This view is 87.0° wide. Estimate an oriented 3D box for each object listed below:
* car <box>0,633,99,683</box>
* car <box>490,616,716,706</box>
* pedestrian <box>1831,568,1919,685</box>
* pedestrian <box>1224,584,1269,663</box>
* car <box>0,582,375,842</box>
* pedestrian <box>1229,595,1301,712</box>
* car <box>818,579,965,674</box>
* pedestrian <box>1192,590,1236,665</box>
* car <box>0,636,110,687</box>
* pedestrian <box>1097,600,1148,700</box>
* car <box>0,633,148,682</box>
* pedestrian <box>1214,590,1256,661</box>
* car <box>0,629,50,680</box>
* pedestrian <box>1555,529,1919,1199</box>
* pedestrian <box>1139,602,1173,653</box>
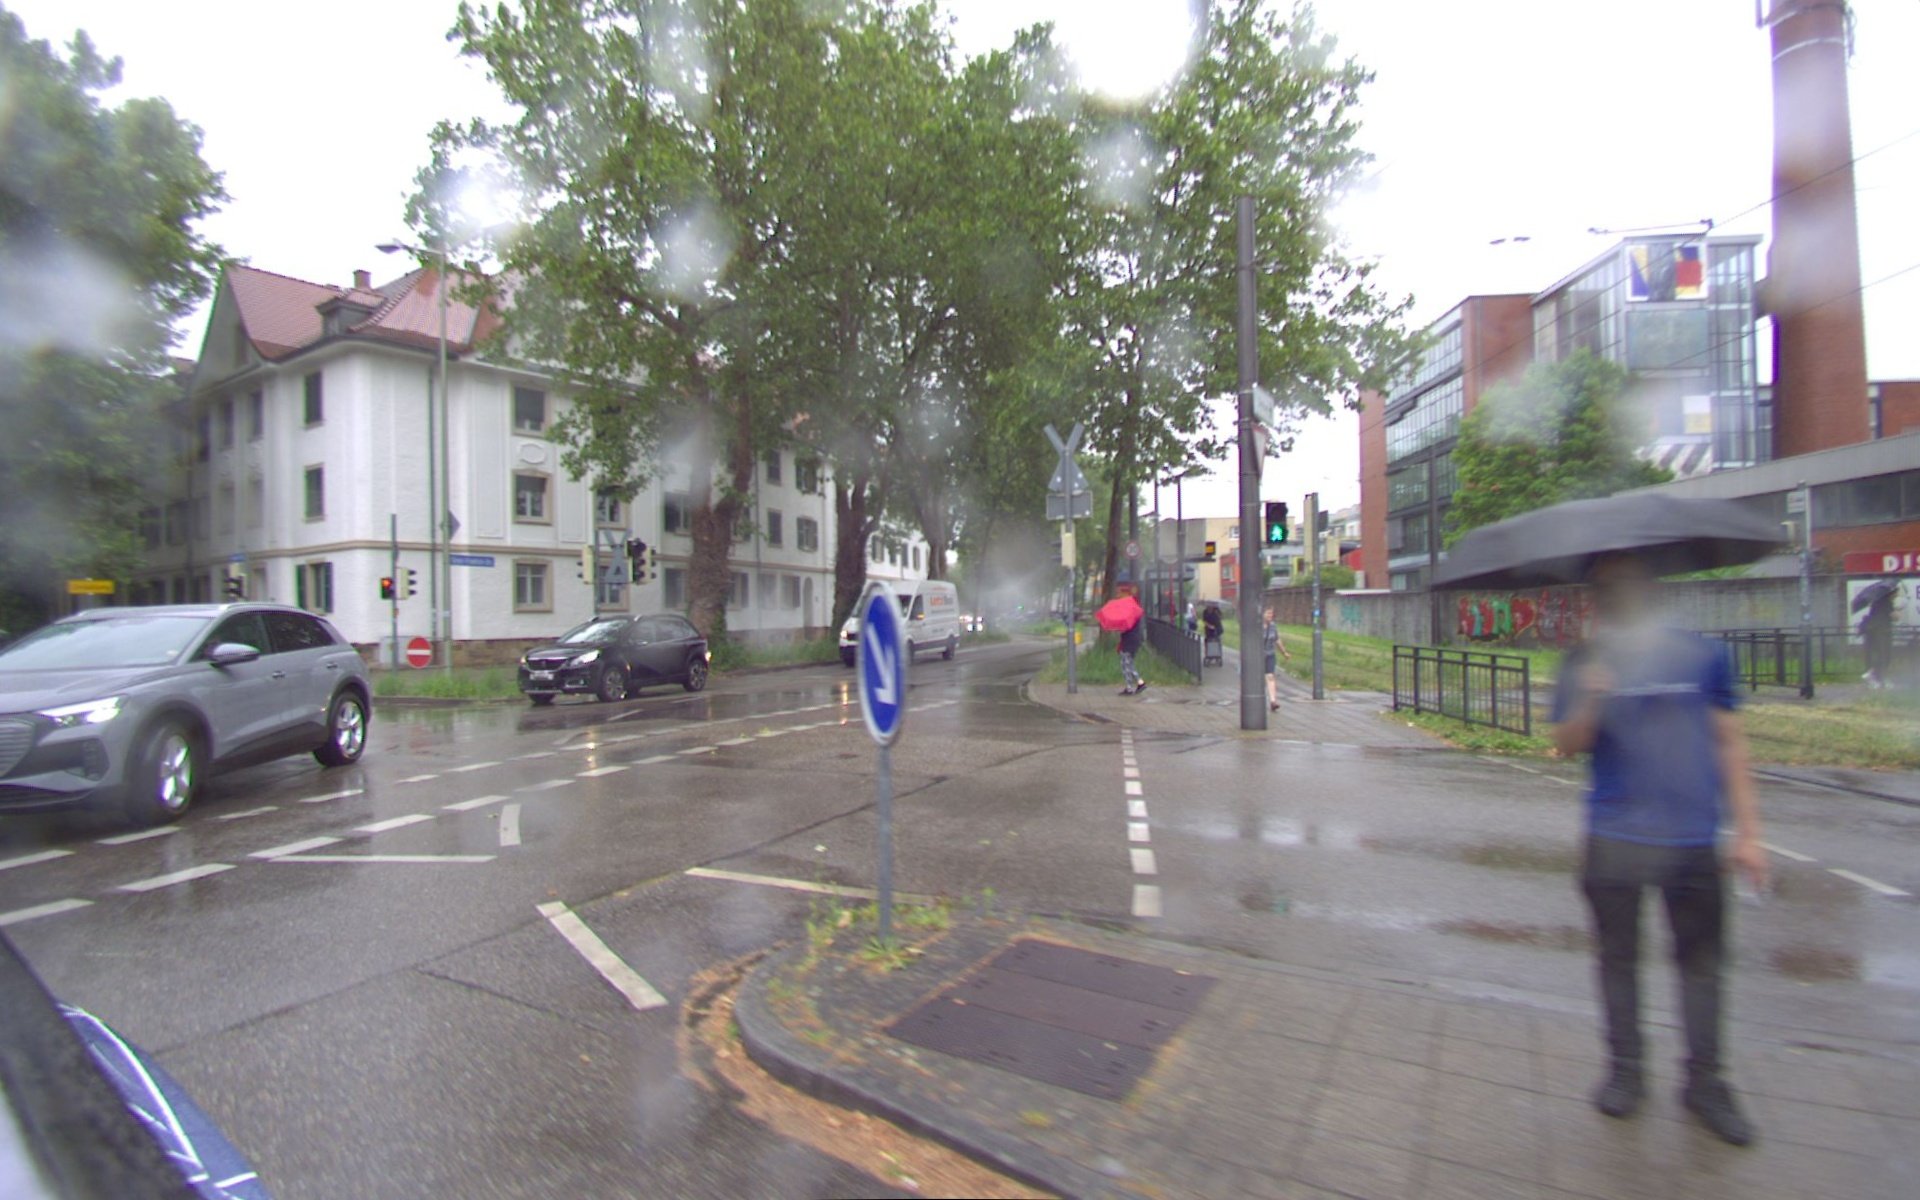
[{"bbox_3d":[-33.963,2.071,36.107,2.030,1.703,4.614,-2,-2,37],"label":"car"},{"bbox_3d":[-6.360,1.047,18.516,1.840,1.455,3.974,-2,-2,19],"label":"car"},{"bbox_3d":[15.258,0.436,16.730,0.839,1.876,0.953,-1,-2,9],"label":"pedestrian"},{"bbox_3d":[6.860,0.570,24.267,0.850,1.846,0.847,-1,-2,7],"label":"pedestrian"},{"bbox_3d":[-6.733,0.764,8.407,1.782,1.633,4.144,-1,-1,-7],"label":"car"},{"bbox_3d":[4.550,0.792,15.175,0.850,1.701,0.847,-1,-2,7],"label":"pedestrian"},{"bbox_3d":[-1.899,0.746,30.979,2.265,2.581,6.474,-2,-1,17],"label":"car"},{"bbox_3d":[5.932,0.636,23.640,0.850,1.701,0.847,-1,-2,7],"label":"pedestrian"},{"bbox_3d":[-32.150,2.101,34.388,1.925,1.635,4.685,-2,-2,34],"label":"car"},{"bbox_3d":[2.852,0.873,17.818,0.839,1.701,0.858,-1,-2,9],"label":"pedestrian"},{"bbox_3d":[-29.484,1.873,33.283,1.792,1.364,3.956,-2,0,33],"label":"car"},{"bbox_3d":[6.749,0.634,24.867,0.850,1.701,0.847,-1,-2,7],"label":"pedestrian"},{"bbox_3d":[-37.435,2.082,37.945,2.030,1.888,4.614,-2,-2,37],"label":"car"},{"bbox_3d":[2.092,0.654,2.717,0.638,1.593,0.858,-2,-2,19],"label":"pedestrian"},{"bbox_3d":[7.246,1.011,37.416,0.845,1.839,0.852,0,-2,-21],"label":"pedestrian"}]
